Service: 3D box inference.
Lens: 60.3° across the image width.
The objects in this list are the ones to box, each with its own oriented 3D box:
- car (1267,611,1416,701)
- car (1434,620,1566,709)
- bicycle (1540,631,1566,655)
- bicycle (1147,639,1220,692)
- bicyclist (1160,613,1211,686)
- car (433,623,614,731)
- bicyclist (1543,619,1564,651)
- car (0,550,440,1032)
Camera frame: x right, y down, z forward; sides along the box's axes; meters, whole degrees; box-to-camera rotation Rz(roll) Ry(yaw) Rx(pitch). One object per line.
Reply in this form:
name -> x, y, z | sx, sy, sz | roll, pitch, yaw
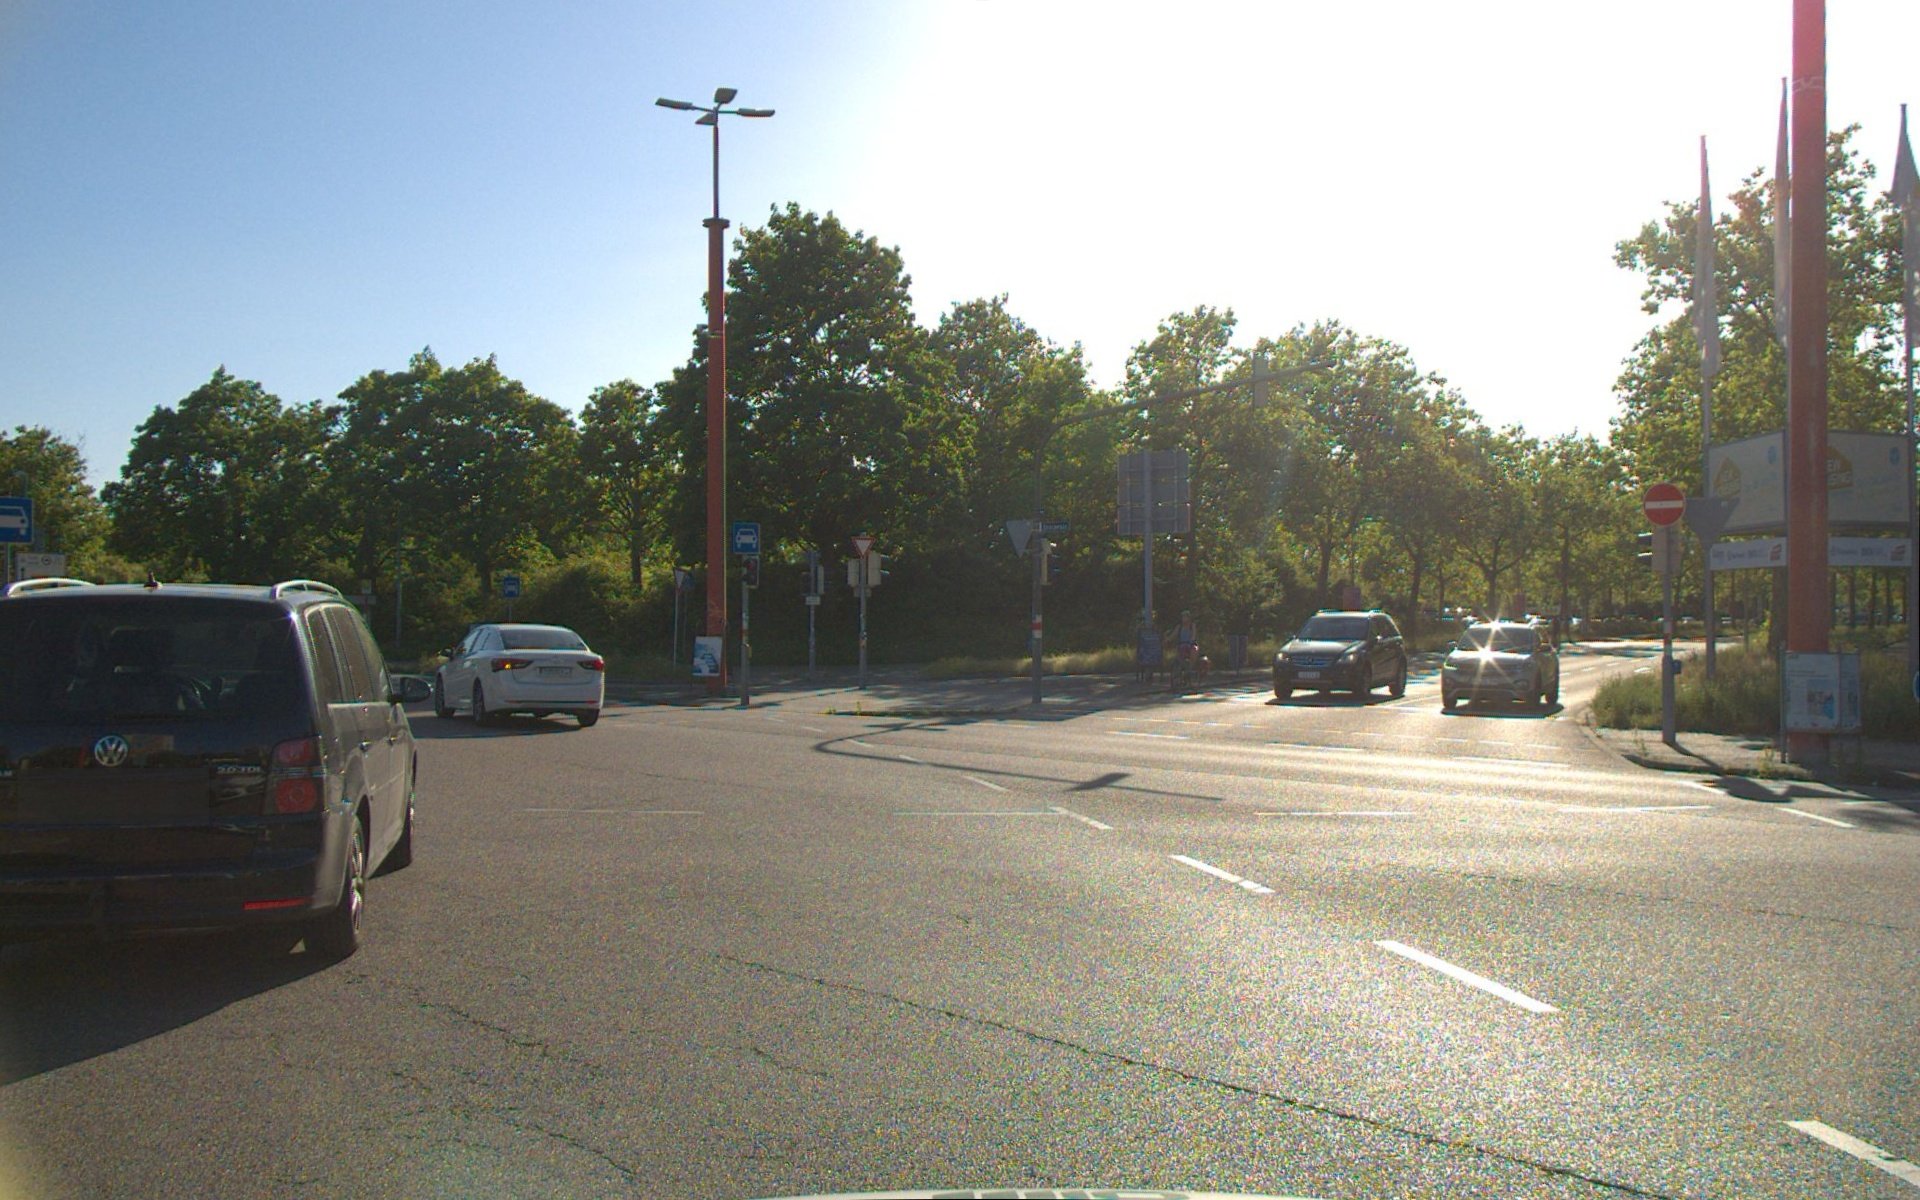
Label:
car -> 8.142, 1.144, 34.993 | 1.866, 1.757, 4.645 | 0, -1, 29
car -> 10.385, 1.194, 31.643 | 1.734, 1.566, 4.085 | 0, -1, 28
bicycle -> 27.464, 1.998, 76.610 | 0.722, 1.110, 2.009 | -1, -2, 33
bicycle -> 4.955, 1.433, 36.528 | 0.751, 1.110, 2.007 | -1, -1, 36
bicyclist -> 4.997, 1.085, 36.602 | 0.746, 1.585, 0.977 | -1, -1, 36
car -> -6.721, 1.100, 25.166 | 1.747, 1.489, 4.326 | 1, -1, -28
bicyclist -> 27.512, 1.613, 76.703 | 0.722, 1.462, 0.963 | -1, -2, 33
car -> -3.680, 0.699, 8.199 | 1.737, 1.673, 4.905 | 1, -1, -14
